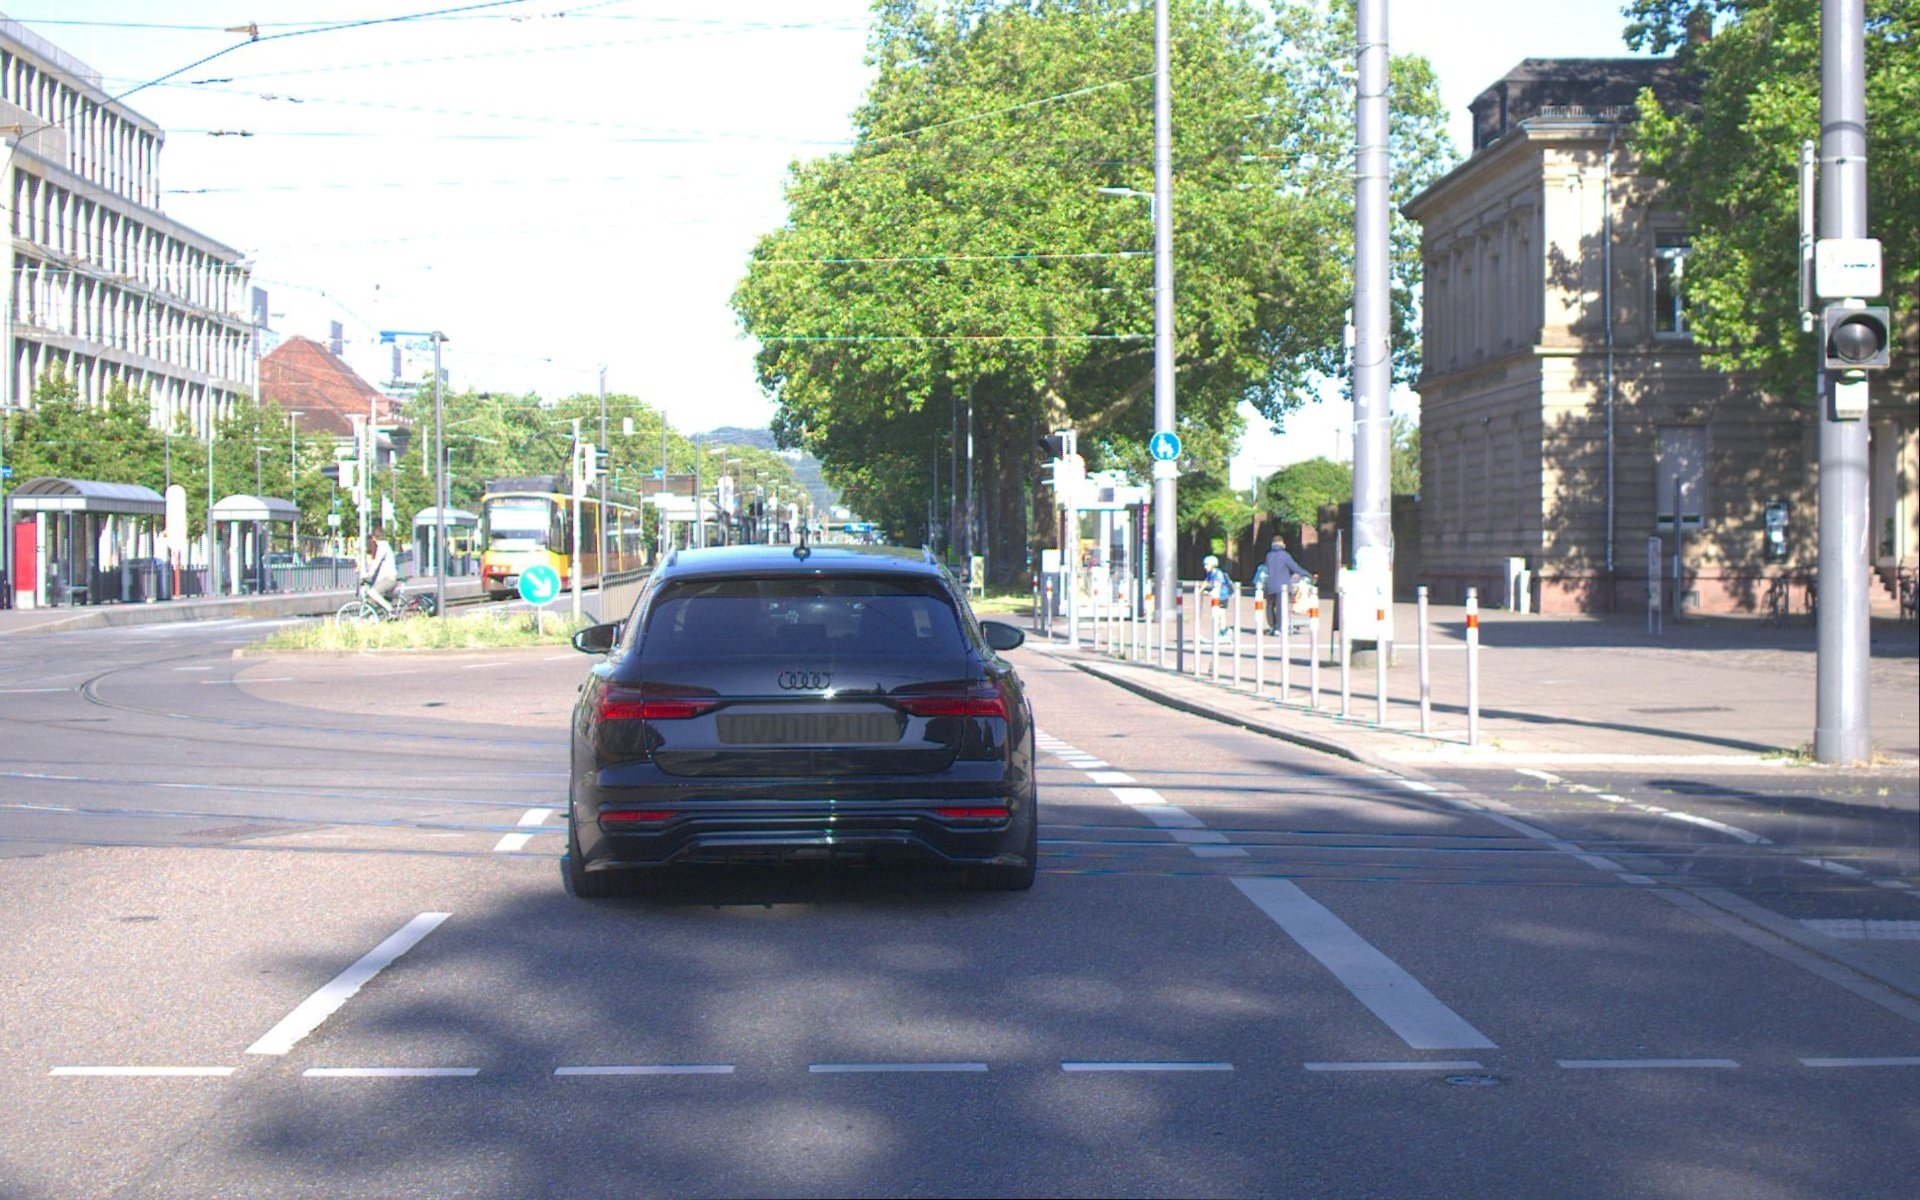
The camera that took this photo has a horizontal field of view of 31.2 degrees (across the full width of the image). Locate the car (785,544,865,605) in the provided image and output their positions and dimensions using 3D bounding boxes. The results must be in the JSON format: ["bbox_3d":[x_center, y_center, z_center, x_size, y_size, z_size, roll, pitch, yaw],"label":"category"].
[{"bbox_3d":[-3.350,-0.668,86.081,1.902,1.481,4.145,0,1,-1],"label":"car"}]

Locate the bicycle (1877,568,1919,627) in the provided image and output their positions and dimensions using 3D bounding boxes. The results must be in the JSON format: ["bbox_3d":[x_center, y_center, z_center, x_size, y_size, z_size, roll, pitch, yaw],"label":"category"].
[{"bbox_3d":[17.575,-0.051,63.732,0.526,1.043,2.231,0,1,0],"label":"bicycle"}]

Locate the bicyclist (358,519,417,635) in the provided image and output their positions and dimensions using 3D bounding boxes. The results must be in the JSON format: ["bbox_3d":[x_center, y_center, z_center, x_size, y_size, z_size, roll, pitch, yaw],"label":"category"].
[{"bbox_3d":[-9.051,-0.366,54.372,0.756,1.812,0.765,-1,1,-22],"label":"bicyclist"}]

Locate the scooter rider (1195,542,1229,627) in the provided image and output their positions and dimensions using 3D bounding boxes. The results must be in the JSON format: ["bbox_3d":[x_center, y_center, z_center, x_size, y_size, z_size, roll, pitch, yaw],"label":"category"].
[{"bbox_3d":[4.161,-0.251,56.714,0.484,1.381,0.377,-1,0,-3],"label":"scooter rider"}]

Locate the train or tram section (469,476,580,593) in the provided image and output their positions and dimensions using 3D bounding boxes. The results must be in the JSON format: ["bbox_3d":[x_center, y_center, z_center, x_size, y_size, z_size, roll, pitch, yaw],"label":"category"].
[{"bbox_3d":[-13.447,-2.028,106.782,2.608,3.439,11.134,0,1,-3],"label":"train or tram section"}]

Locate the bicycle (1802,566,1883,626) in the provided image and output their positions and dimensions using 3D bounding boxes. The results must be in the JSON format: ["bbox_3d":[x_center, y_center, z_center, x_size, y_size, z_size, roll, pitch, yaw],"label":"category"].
[{"bbox_3d":[16.199,-0.085,63.177,0.526,1.043,2.360,0,1,-10],"label":"bicycle"}]

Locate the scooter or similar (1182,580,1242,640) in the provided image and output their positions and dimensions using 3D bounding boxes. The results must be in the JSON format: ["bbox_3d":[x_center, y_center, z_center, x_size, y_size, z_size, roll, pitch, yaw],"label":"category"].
[{"bbox_3d":[4.157,0.163,56.715,0.938,0.963,0.361,-1,0,-3],"label":"scooter or similar"}]

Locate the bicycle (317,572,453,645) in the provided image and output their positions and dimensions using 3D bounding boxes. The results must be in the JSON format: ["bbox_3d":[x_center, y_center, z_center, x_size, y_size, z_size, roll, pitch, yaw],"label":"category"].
[{"bbox_3d":[-9.078,0.127,54.273,2.005,1.104,0.765,-1,1,-22],"label":"bicycle"}]

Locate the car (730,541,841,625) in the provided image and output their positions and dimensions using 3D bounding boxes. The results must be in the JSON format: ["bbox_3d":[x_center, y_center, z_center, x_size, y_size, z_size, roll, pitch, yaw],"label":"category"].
[{"bbox_3d":[-3.168,-0.333,63.110,1.902,1.481,4.145,0,1,-1],"label":"car"}]

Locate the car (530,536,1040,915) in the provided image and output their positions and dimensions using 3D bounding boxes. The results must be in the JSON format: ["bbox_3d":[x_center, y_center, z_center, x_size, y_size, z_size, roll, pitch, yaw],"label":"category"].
[{"bbox_3d":[-0.689,0.432,14.918,1.902,1.417,4.145,0,1,-1],"label":"car"}]

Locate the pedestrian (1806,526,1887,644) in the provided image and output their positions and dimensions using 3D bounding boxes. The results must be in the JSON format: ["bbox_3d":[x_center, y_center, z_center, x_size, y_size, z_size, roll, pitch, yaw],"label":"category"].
[{"bbox_3d":[14.096,-0.253,54.694,0.978,1.859,0.827,0,1,-13],"label":"pedestrian"}]

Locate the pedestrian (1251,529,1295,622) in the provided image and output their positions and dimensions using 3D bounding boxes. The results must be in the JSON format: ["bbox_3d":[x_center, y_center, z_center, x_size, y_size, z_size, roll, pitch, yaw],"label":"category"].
[{"bbox_3d":[5.616,-0.450,61.657,0.682,1.655,0.758,0,1,-3],"label":"pedestrian"}]

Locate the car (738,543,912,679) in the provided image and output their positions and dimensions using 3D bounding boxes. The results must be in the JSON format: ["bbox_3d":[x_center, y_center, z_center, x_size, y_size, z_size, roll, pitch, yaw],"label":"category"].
[{"bbox_3d":[-1.516,0.082,39.719,1.902,1.481,4.145,0,1,-1],"label":"car"}]

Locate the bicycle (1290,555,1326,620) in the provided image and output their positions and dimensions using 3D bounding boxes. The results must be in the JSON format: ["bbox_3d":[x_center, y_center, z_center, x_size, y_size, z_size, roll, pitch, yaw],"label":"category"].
[{"bbox_3d":[6.239,-0.228,61.696,0.434,1.141,1.340,0,1,-3],"label":"bicycle"}]

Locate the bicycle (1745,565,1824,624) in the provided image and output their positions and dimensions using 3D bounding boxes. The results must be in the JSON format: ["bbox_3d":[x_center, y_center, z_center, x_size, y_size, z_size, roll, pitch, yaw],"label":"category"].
[{"bbox_3d":[15.134,-0.111,63.178,0.526,1.043,2.360,0,1,-10],"label":"bicycle"}]

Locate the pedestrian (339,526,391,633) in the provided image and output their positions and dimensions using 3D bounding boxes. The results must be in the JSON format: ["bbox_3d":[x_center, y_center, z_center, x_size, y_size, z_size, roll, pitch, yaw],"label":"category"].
[{"bbox_3d":[-9.678,-0.337,55.933,0.739,1.735,0.664,0,1,-19],"label":"pedestrian"}]
